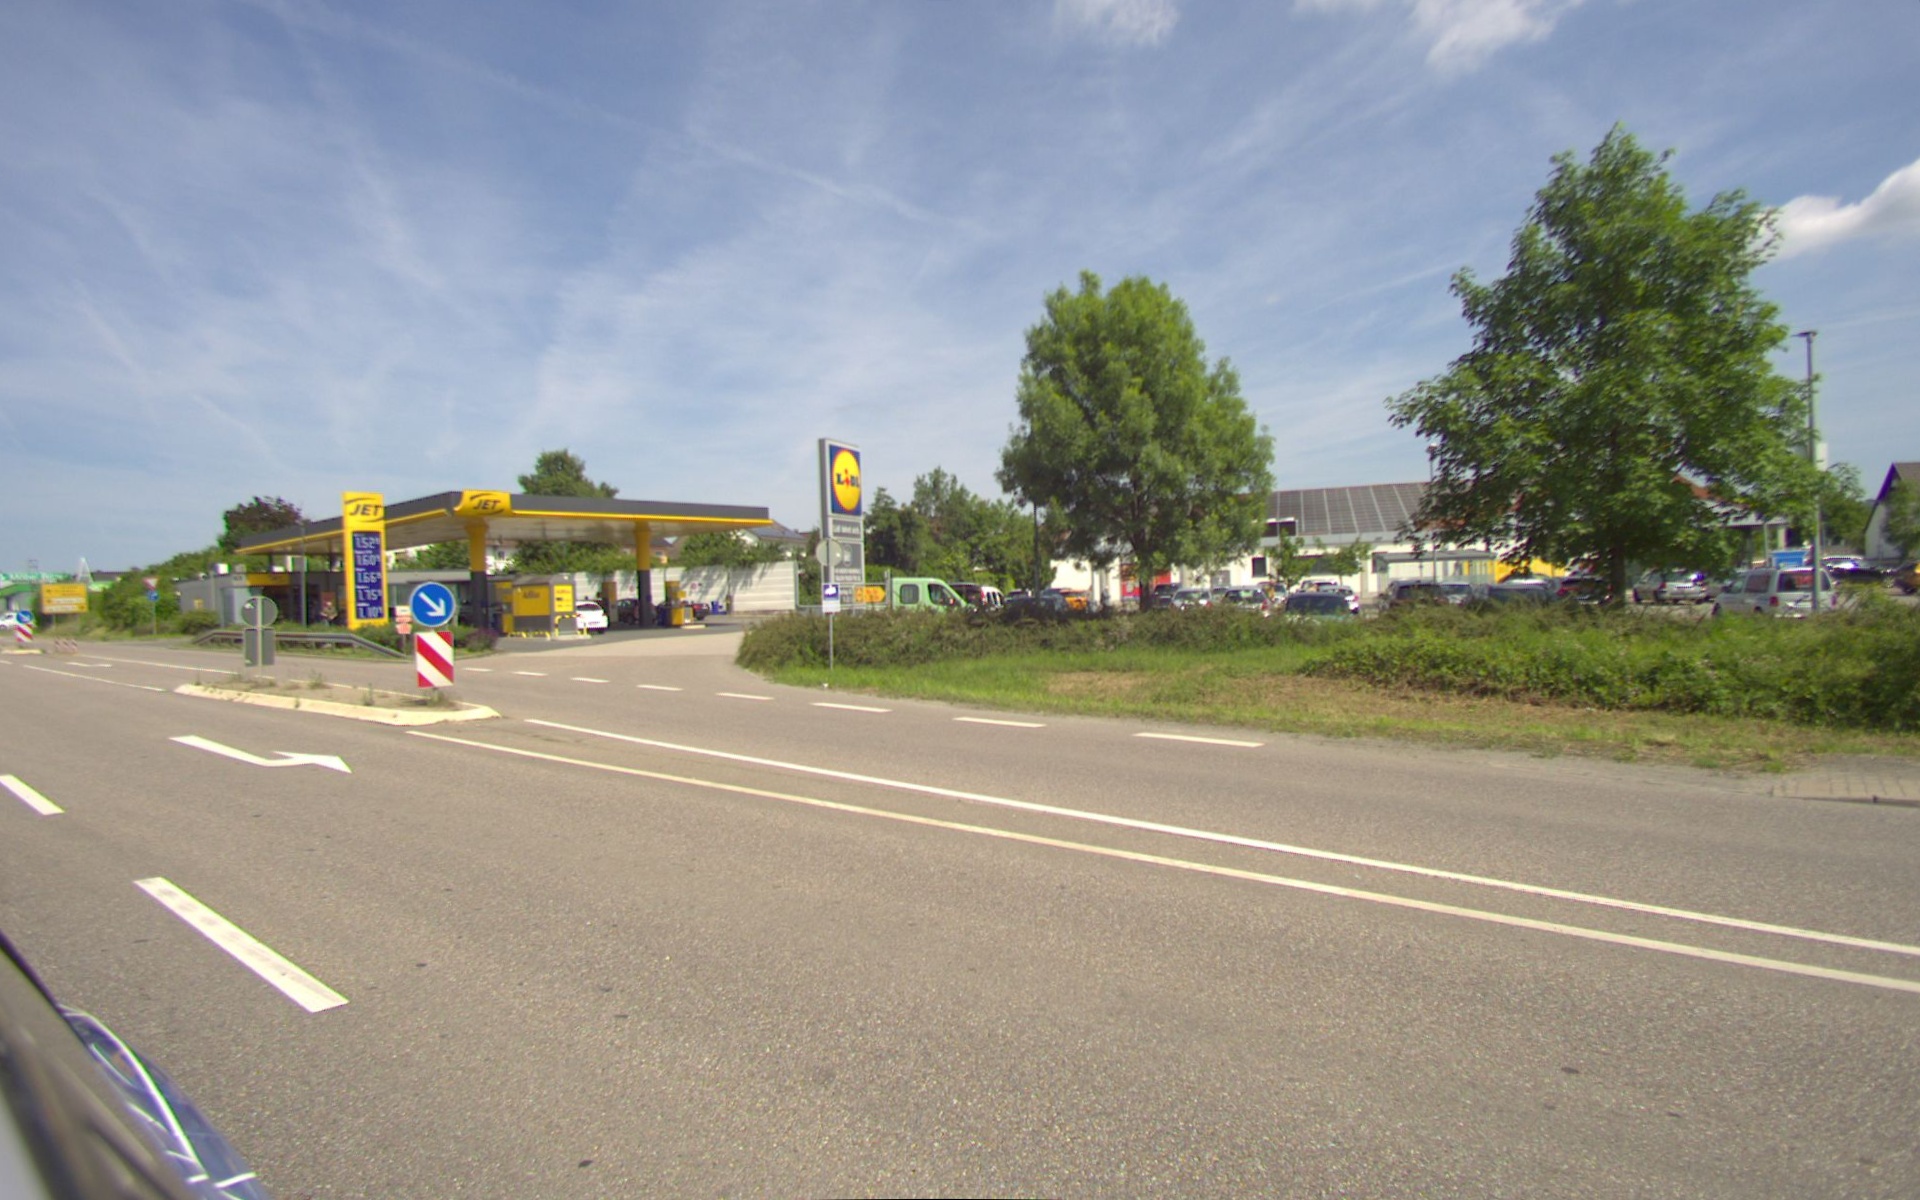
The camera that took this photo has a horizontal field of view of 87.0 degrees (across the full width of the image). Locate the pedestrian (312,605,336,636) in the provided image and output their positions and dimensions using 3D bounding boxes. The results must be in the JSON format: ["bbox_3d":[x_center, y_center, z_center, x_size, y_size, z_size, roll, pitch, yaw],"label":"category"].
[{"bbox_3d":[-30.555,0.982,48.626,0.901,1.438,0.495,0,0,-42],"label":"pedestrian"}]

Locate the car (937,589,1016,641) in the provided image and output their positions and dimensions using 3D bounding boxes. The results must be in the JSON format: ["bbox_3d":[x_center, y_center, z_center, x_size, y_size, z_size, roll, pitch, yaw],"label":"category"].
[{"bbox_3d":[0.697,0.523,38.663,1.865,1.825,4.145,-1,0,17],"label":"car"}]

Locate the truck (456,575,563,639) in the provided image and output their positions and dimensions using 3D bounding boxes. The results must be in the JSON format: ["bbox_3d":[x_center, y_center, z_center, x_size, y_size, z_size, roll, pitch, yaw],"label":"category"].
[{"bbox_3d":[-22.000,0.314,49.263,6.278,2.944,2.222,0,0,40],"label":"truck"}]

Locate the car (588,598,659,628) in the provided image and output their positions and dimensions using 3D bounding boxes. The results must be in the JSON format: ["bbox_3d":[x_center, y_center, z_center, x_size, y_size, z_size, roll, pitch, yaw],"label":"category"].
[{"bbox_3d":[-19.213,0.737,57.714,3.862,1.625,1.735,-2,-1,31],"label":"car"}]

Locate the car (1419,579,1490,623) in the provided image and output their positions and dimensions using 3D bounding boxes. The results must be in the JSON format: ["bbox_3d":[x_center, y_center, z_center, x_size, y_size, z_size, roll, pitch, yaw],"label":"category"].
[{"bbox_3d":[18.435,0.026,37.868,1.764,1.540,3.977,-1,0,17],"label":"car"}]

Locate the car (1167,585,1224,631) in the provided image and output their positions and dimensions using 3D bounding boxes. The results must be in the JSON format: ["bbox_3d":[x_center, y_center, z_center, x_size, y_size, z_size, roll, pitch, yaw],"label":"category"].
[{"bbox_3d":[9.443,0.275,40.420,1.850,1.688,4.399,-1,0,18],"label":"car"}]

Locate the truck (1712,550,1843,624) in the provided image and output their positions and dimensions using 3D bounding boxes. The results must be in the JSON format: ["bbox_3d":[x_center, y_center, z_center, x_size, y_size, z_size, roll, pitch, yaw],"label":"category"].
[{"bbox_3d":[27.976,-0.428,34.822,1.981,2.383,3.982,-1,0,14],"label":"truck"}]

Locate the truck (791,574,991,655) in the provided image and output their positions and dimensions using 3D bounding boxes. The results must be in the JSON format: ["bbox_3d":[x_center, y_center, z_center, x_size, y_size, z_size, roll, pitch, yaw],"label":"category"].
[{"bbox_3d":[-2.319,0.449,32.992,6.247,2.393,2.254,-1,-1,-9],"label":"truck"}]

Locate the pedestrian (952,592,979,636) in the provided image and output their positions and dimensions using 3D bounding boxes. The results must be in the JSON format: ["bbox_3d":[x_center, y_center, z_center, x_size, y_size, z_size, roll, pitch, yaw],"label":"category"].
[{"bbox_3d":[0.202,0.496,36.245,0.801,1.587,0.701,-1,0,13],"label":"pedestrian"}]

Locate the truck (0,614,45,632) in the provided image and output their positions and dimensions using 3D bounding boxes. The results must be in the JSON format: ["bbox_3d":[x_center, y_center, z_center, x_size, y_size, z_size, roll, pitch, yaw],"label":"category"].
[{"bbox_3d":[-112.674,2.749,120.904,1.997,2.024,4.714,-1,0,38],"label":"truck"}]

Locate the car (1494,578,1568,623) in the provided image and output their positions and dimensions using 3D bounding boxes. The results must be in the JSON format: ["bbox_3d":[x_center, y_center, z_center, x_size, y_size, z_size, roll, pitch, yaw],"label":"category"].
[{"bbox_3d":[20.690,0.007,36.793,1.767,1.540,3.972,-1,0,21],"label":"car"}]

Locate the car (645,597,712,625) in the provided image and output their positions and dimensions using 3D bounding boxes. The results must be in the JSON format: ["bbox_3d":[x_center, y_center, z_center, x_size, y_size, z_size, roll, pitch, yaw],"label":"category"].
[{"bbox_3d":[-17.277,0.694,62.052,3.862,1.625,1.735,-2,-1,31],"label":"car"}]

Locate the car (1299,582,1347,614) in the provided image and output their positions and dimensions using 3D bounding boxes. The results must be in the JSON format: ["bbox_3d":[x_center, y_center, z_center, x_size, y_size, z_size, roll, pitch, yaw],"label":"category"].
[{"bbox_3d":[18.064,-0.121,50.504,1.868,1.453,3.981,-1,1,15],"label":"car"}]

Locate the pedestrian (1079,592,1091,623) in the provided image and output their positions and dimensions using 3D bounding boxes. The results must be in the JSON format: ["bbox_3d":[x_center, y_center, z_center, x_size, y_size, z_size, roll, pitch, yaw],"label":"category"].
[{"bbox_3d":[6.296,0.389,50.994,0.502,1.564,0.514,-1,0,19],"label":"pedestrian"}]

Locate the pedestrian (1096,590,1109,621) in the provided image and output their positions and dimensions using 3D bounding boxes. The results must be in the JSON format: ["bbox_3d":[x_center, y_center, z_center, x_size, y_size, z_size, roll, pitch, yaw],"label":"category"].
[{"bbox_3d":[7.205,0.295,51.044,0.503,1.564,0.512,-1,0,28],"label":"pedestrian"}]

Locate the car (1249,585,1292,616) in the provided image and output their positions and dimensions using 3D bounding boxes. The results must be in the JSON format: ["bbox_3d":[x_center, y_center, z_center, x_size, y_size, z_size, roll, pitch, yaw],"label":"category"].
[{"bbox_3d":[15.659,-0.005,51.200,1.868,1.453,3.981,-1,1,15],"label":"car"}]

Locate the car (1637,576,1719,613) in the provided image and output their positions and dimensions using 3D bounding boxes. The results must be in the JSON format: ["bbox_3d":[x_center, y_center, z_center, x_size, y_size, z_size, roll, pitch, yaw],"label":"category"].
[{"bbox_3d":[31.607,-0.238,44.693,1.865,1.553,4.231,-1,0,20],"label":"car"}]

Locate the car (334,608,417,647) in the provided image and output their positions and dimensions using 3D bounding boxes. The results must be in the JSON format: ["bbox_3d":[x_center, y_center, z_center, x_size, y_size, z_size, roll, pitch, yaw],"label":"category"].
[{"bbox_3d":[-27.617,1.302,47.777,4.258,1.719,1.975,-2,-1,38],"label":"car"}]

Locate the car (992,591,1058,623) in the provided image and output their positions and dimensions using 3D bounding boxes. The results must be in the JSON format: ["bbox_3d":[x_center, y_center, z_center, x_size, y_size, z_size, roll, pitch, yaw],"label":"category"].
[{"bbox_3d":[3.532,0.357,54.444,1.765,1.551,3.956,-2,0,33],"label":"car"}]

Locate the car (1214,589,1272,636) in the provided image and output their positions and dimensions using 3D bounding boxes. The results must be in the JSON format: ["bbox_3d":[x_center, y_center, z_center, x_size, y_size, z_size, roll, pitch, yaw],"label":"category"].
[{"bbox_3d":[9.987,0.399,35.537,1.769,1.513,4.122,-1,1,18],"label":"car"}]

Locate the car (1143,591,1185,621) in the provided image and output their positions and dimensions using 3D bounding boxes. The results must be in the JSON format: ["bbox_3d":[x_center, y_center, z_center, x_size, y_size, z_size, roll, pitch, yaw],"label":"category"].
[{"bbox_3d":[10.576,0.279,52.228,1.868,1.453,3.981,-1,1,15],"label":"car"}]

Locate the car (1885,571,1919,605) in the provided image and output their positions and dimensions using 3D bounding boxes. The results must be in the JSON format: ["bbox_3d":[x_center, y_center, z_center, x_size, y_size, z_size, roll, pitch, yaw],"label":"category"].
[{"bbox_3d":[45.230,-0.558,46.017,4.223,1.553,1.869,0,0,18],"label":"car"}]

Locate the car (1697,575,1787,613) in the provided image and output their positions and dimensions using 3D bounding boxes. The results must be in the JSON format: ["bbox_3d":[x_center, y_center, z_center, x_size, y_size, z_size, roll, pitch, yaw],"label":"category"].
[{"bbox_3d":[34.022,-0.242,44.148,1.865,1.553,4.231,-1,0,20],"label":"car"}]

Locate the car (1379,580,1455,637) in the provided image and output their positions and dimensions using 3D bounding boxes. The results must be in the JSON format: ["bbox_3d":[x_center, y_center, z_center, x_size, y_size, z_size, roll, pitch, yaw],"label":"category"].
[{"bbox_3d":[14.768,0.240,32.875,1.898,1.687,3.974,-1,1,20],"label":"car"}]

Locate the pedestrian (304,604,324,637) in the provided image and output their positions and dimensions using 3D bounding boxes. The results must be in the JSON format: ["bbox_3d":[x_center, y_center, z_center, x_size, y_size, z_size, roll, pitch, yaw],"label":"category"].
[{"bbox_3d":[-37.184,1.183,58.234,0.639,1.852,0.788,-2,0,41],"label":"pedestrian"}]

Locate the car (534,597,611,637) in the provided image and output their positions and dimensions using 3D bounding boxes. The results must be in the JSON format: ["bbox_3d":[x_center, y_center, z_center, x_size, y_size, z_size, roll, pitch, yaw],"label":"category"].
[{"bbox_3d":[-17.659,0.827,46.023,4.001,1.741,1.713,-2,-3,44],"label":"car"}]

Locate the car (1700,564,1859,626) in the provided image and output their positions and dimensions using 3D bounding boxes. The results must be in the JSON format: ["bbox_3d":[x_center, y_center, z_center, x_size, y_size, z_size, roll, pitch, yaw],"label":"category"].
[{"bbox_3d":[24.321,-0.131,30.262,1.981,1.708,4.408,-1,0,14],"label":"car"}]

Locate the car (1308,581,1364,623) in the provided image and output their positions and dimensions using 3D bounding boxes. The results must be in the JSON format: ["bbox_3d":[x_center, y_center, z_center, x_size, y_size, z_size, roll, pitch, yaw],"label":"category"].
[{"bbox_3d":[14.378,0.062,38.874,1.764,1.540,3.977,-1,0,17],"label":"car"}]

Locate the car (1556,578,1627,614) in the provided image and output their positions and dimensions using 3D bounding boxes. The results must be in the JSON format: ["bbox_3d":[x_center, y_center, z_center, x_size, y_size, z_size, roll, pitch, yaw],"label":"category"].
[{"bbox_3d":[28.573,-0.195,45.926,1.865,1.553,4.231,-1,0,20],"label":"car"}]

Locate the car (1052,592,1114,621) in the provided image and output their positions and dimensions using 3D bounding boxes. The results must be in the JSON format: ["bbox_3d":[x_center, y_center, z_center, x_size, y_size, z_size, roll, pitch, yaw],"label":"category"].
[{"bbox_3d":[6.623,0.332,54.252,1.879,1.453,3.958,-1,1,31],"label":"car"}]

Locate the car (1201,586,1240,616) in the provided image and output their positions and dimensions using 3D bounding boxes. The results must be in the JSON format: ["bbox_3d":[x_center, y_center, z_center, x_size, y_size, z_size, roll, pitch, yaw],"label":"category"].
[{"bbox_3d":[13.421,0.023,52.169,1.868,1.453,3.981,-1,1,15],"label":"car"}]

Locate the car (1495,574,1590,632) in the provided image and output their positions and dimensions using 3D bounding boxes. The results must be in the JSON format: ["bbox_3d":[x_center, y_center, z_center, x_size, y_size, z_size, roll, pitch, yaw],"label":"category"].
[{"bbox_3d":[18.313,0.085,31.992,1.912,1.701,3.973,-1,0,20],"label":"car"}]

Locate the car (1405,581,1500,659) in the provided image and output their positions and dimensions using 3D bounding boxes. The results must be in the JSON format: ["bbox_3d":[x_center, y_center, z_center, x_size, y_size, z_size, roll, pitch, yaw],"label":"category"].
[{"bbox_3d":[11.522,0.425,23.882,1.683,1.670,3.971,-1,0,22],"label":"car"}]
